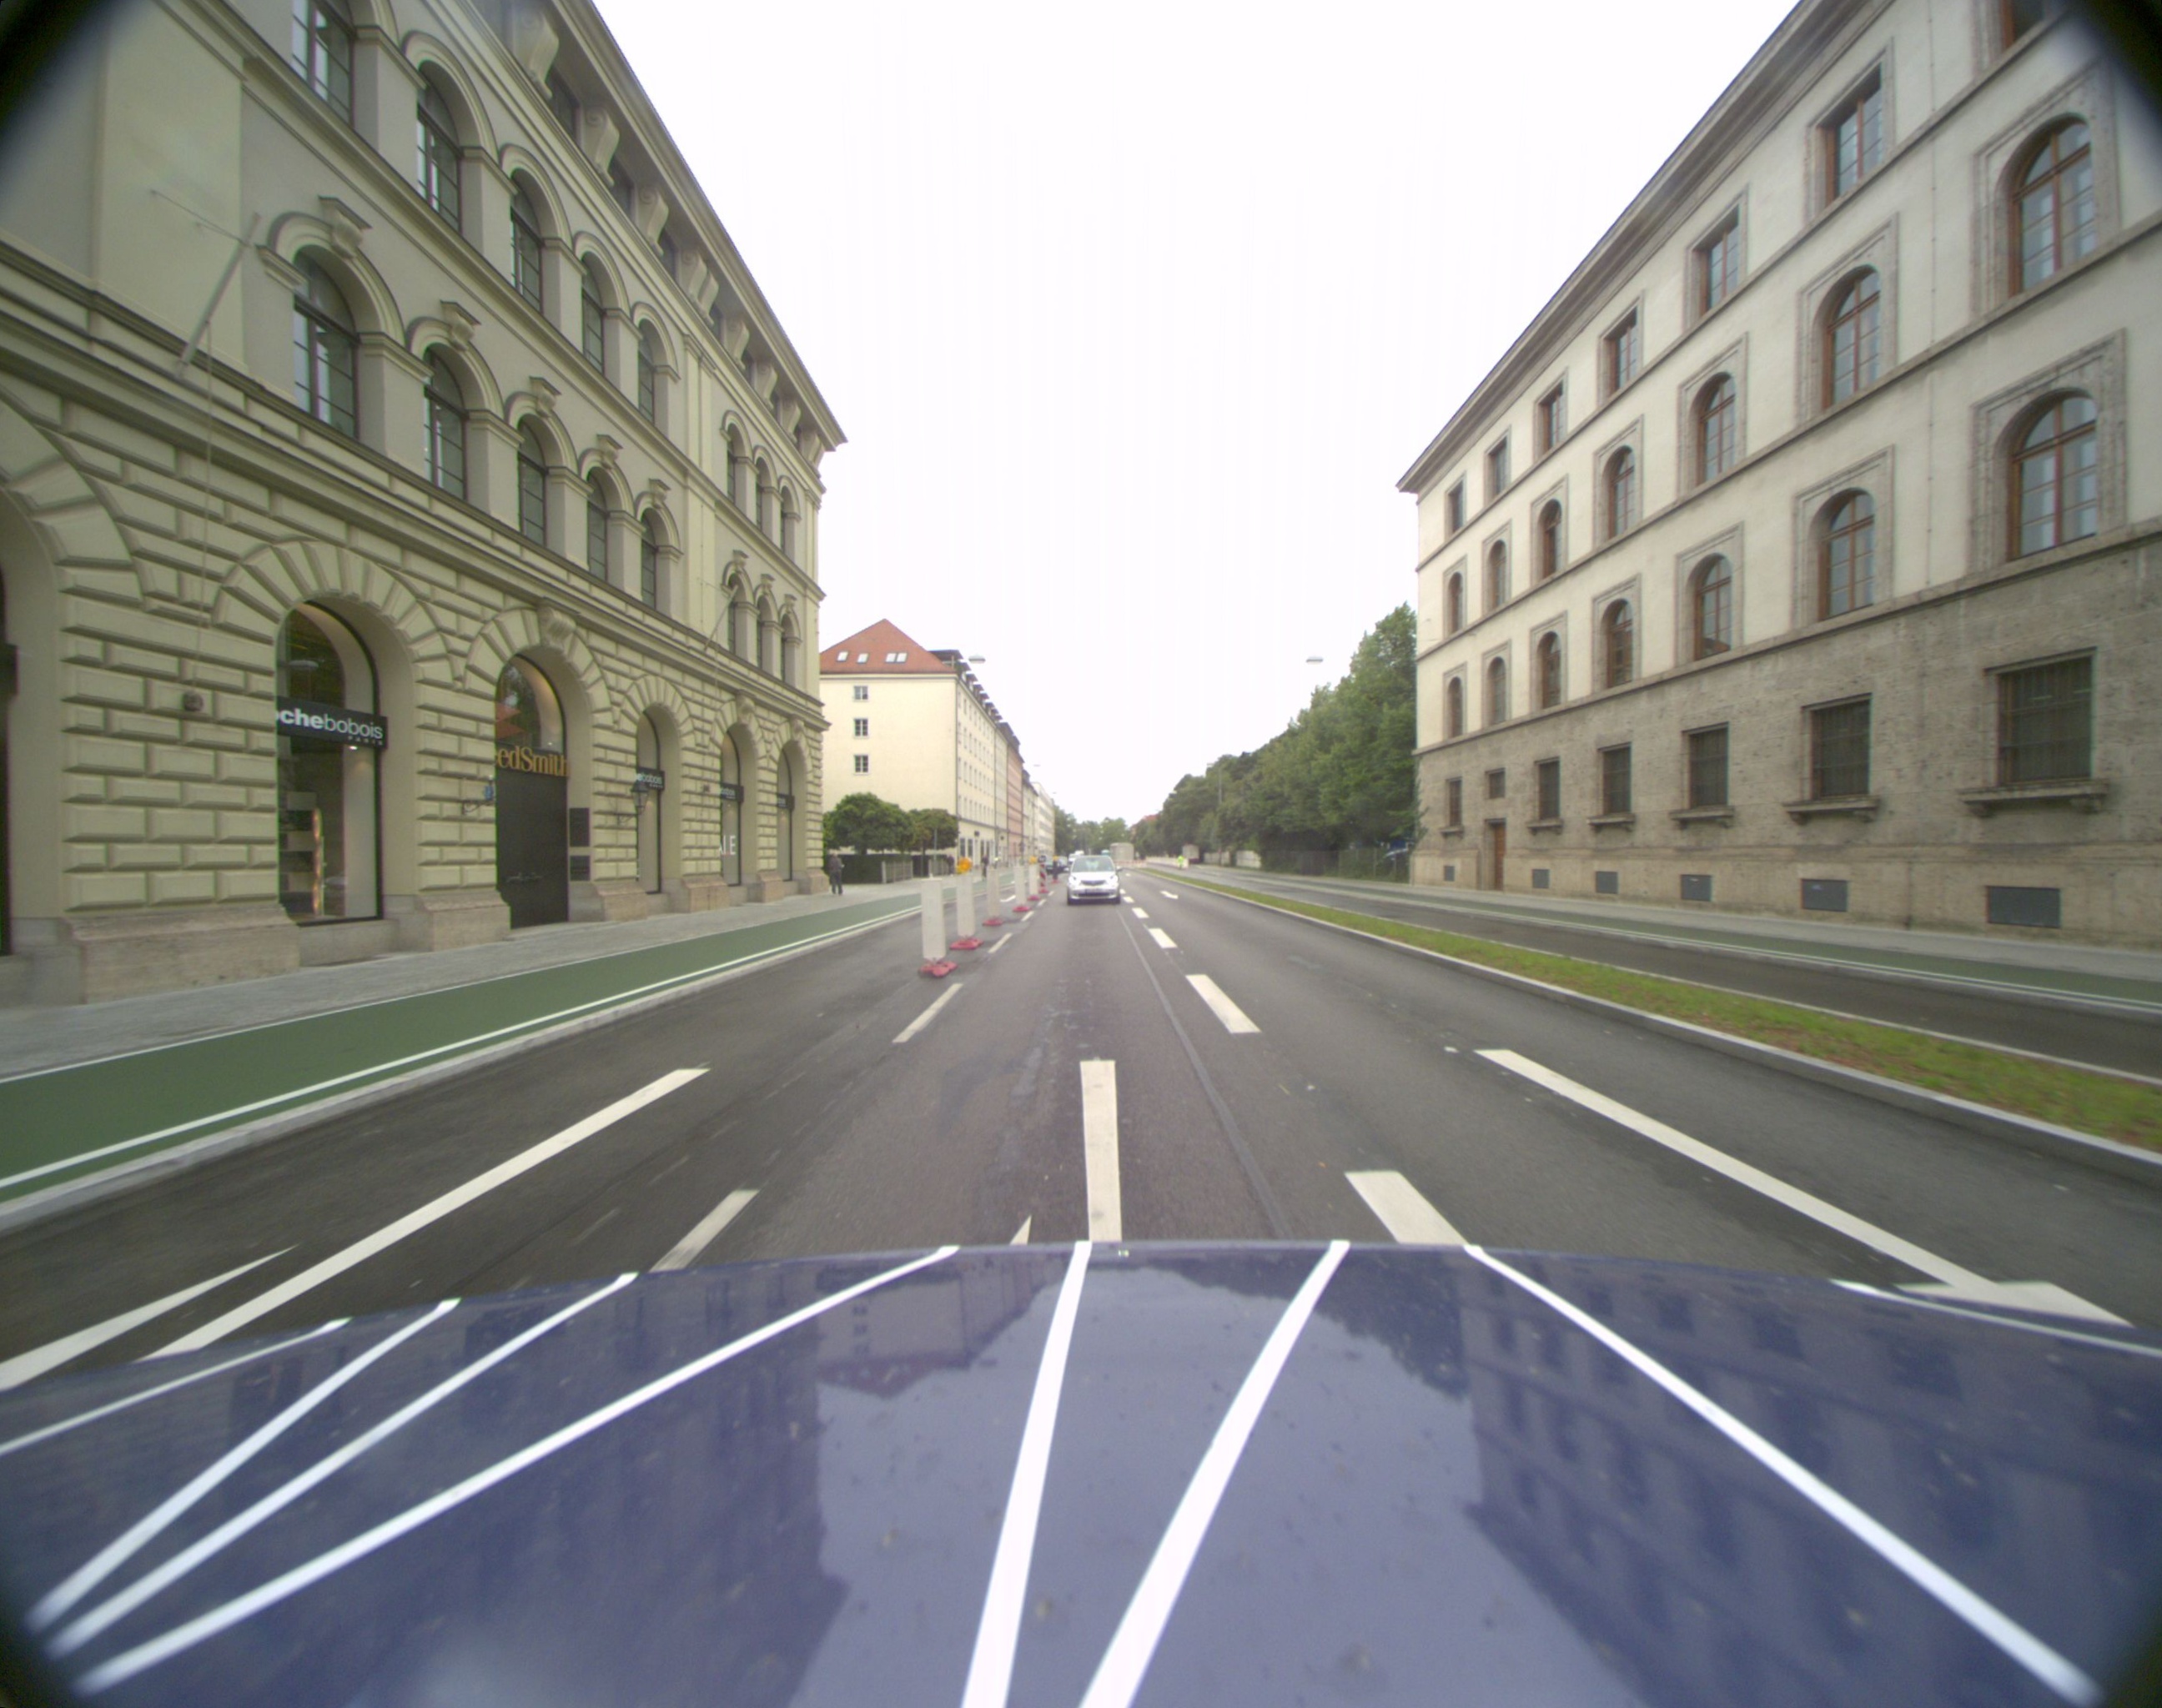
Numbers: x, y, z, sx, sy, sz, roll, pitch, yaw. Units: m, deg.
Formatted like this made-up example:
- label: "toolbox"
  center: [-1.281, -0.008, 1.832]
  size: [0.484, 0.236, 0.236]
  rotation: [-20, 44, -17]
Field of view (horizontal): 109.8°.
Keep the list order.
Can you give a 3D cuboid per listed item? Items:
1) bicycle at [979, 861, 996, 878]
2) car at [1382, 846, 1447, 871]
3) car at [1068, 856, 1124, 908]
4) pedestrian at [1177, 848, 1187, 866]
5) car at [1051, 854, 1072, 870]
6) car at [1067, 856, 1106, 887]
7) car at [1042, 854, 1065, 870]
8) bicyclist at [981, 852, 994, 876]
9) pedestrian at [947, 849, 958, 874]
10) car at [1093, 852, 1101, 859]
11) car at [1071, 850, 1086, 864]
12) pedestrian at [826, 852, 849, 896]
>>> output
- label: "bicycle"
  center: [-6.116, 1.011, 49.828]
  size: [0.751, 1.026, 2.531]
  rotation: [-2, 0, 1]
- label: "car"
  center: [24.693, 0.316, 56.365]
  size: [4.036, 1.700, 1.875]
  rotation: [-2, 3, 5]
- label: "car"
  center: [0.479, 0.831, 24.543]
  size: [1.633, 1.494, 4.000]
  rotation: [-1, 0, 1]
- label: "pedestrian"
  center: [11.319, 0.292, 85.118]
  size: [0.759, 2.002, 0.865]
  rotation: [-2, 1, -35]
- label: "car"
  center: [-1.839, 0.742, 72.454]
  size: [1.739, 1.425, 4.000]
  rotation: [-1, 0, 1]
- label: "car"
  center: [0.286, 0.893, 40.517]
  size: [1.922, 1.433, 4.306]
  rotation: [-2, 0, 1]
- label: "car"
  center: [-2.402, 0.725, 67.089]
  size: [1.739, 1.313, 4.000]
  rotation: [-1, 0, 1]
- label: "bicyclist"
  center: [-6.125, 0.659, 49.926]
  size: [0.724, 1.543, 0.858]
  rotation: [-2, 1, 0]
- label: "pedestrian"
  center: [-9.644, 0.537, 57.118]
  size: [0.655, 1.863, 0.826]
  rotation: [1, 1, 1]
- label: "car"
  center: [3.327, 0.392, 158.314]
  size: [1.739, 1.425, 4.000]
  rotation: [-1, 0, 1]
- label: "car"
  center: [-0.329, 0.453, 110.714]
  size: [1.998, 2.002, 4.000]
  rotation: [0, 0, 1]
- label: "pedestrian"
  center: [-9.433, 0.765, 29.515]
  size: [0.634, 1.694, 1.085]
  rotation: [0, 1, -6]
